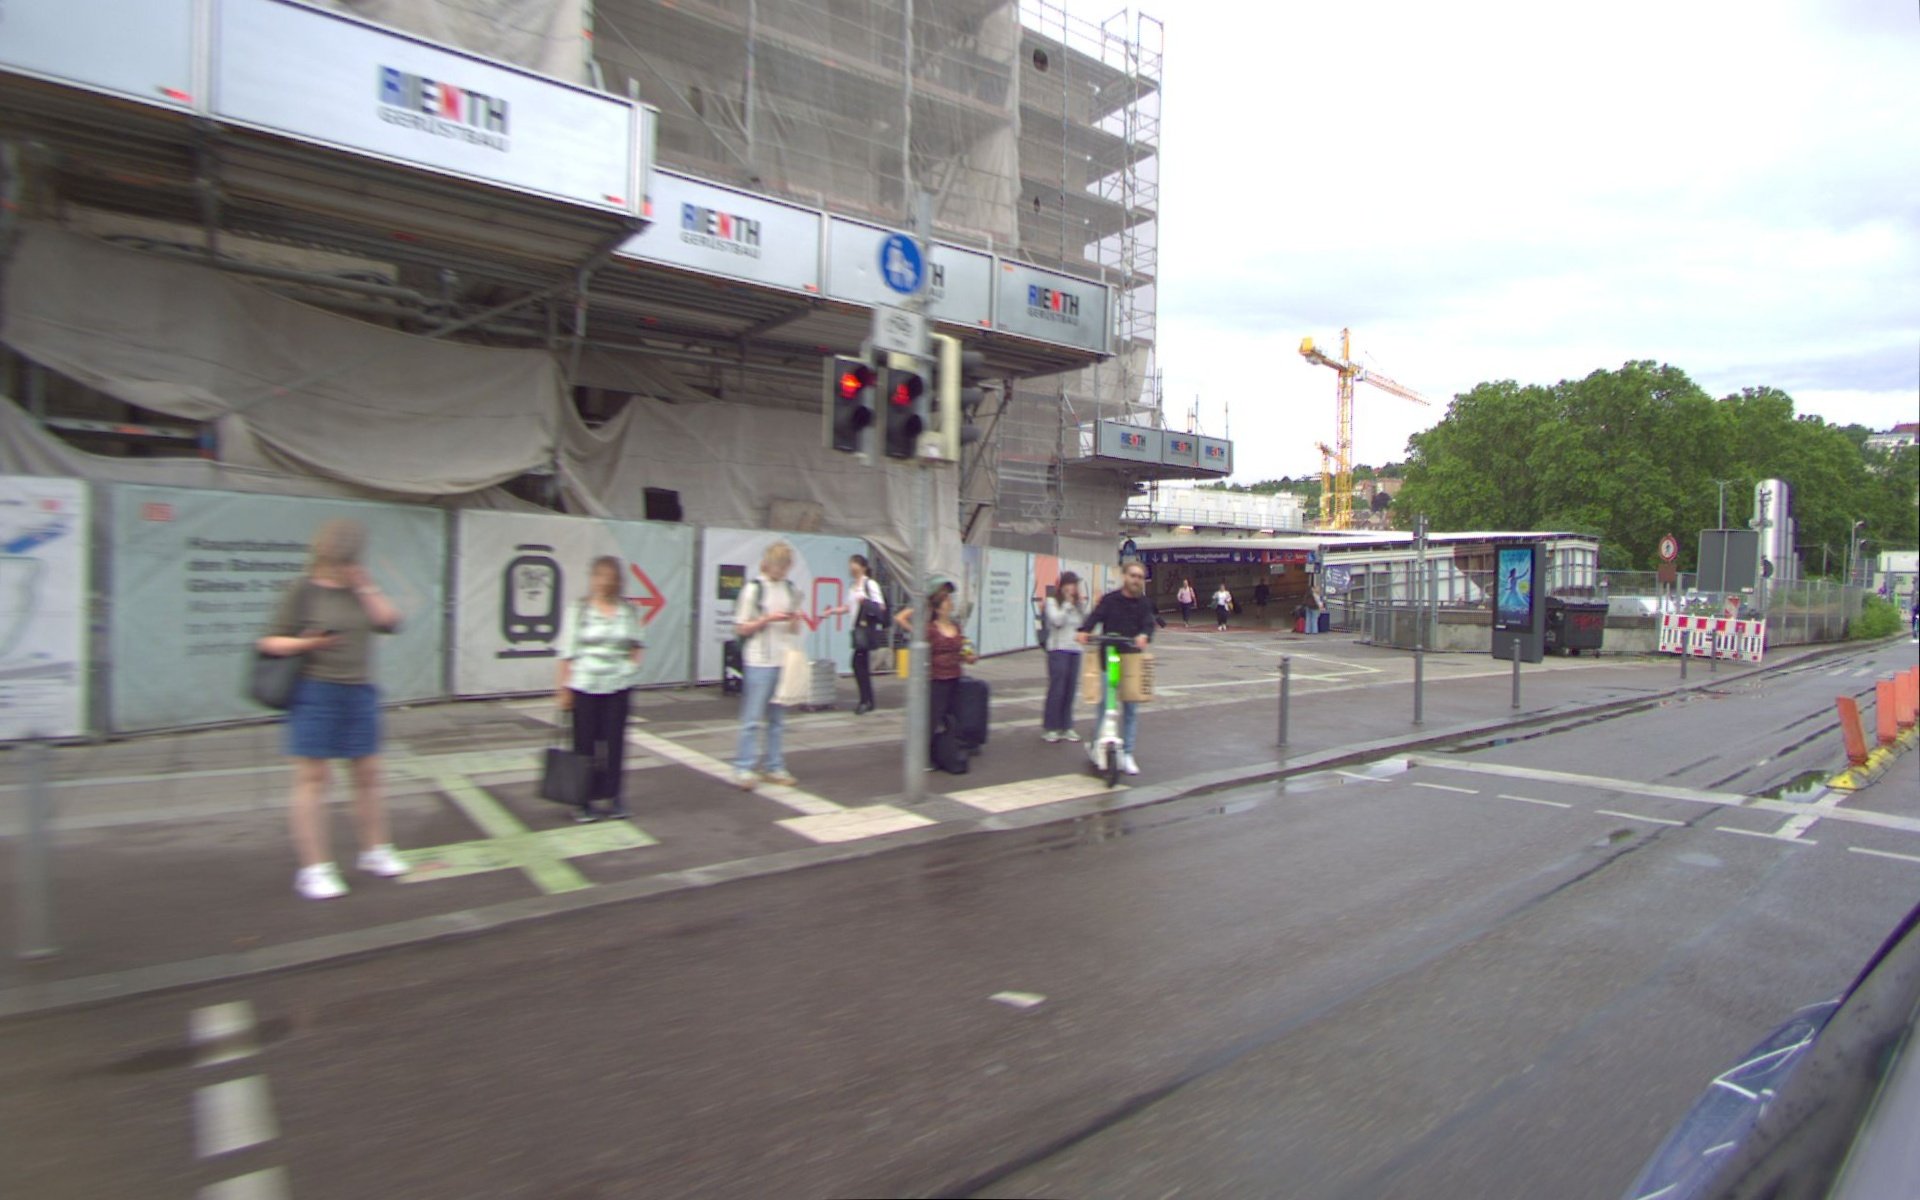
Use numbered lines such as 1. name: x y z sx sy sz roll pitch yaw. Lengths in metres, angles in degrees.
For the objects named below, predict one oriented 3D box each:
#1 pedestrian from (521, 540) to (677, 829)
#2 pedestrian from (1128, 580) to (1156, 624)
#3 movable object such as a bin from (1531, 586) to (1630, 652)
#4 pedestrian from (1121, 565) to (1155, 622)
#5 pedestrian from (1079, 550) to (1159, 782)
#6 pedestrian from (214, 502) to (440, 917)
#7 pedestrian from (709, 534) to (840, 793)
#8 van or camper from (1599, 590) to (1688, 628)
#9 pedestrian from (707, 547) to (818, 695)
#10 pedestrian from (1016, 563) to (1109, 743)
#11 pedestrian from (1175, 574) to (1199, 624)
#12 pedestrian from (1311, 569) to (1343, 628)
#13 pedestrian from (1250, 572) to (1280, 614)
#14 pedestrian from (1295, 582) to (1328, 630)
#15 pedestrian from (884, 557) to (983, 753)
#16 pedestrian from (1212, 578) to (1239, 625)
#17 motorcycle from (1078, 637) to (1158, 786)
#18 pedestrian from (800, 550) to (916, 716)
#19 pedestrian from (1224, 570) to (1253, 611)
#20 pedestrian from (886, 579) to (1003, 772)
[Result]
1. pedestrian: -2.250 0.485 6.296 0.738 1.660 0.560 1 3 -36
2. pedestrian: 6.447 0.059 35.885 0.630 1.526 0.702 1 1 -39
3. movable object such as a bin: 15.043 0.437 24.577 1.502 1.510 1.305 1 1 -9
4. pedestrian: 6.574 -0.250 37.347 0.916 2.039 0.764 1 1 -40
5. pedestrian: 1.293 0.497 8.195 0.572 1.762 0.819 1 0 10
6. pedestrian: -2.991 0.457 4.795 0.557 1.780 0.741 5 3 39
7. pedestrian: -1.358 0.428 7.383 0.698 1.773 0.560 1 3 -36
8. van or camper: 46.992 0.568 69.785 2.345 2.432 6.054 3 1 6
9. pedestrian: -2.394 0.232 12.258 1.088 1.703 0.735 1 1 -35
10. pedestrian: 0.994 0.493 9.859 0.603 1.670 0.560 1 3 -36
11. pedestrian: 8.879 -0.042 39.570 0.849 1.899 0.639 2 1 14
12. pedestrian: 12.804 -0.045 35.287 0.753 2.039 0.804 0 -1 -45
13. pedestrian: 13.309 -0.317 44.203 0.756 1.816 0.951 1 1 -40
14. pedestrian: 12.037 0.193 34.671 0.698 1.614 0.854 0 -1 -45
15. pedestrian: -0.243 0.470 9.087 0.602 1.670 0.567 1 3 -33
16. pedestrian: 9.679 0.043 36.939 0.901 1.666 0.700 2 1 14
17. motorcycle: 1.287 0.858 8.210 0.577 1.034 1.236 1 1 10
18. pedestrian: -1.110 0.332 11.032 0.940 1.698 0.738 1 3 -38
19. pedestrian: 12.715 -0.444 46.176 0.756 1.816 0.951 1 1 -40
20. pedestrian: -0.130 0.585 8.269 0.698 1.467 0.560 1 3 -36
